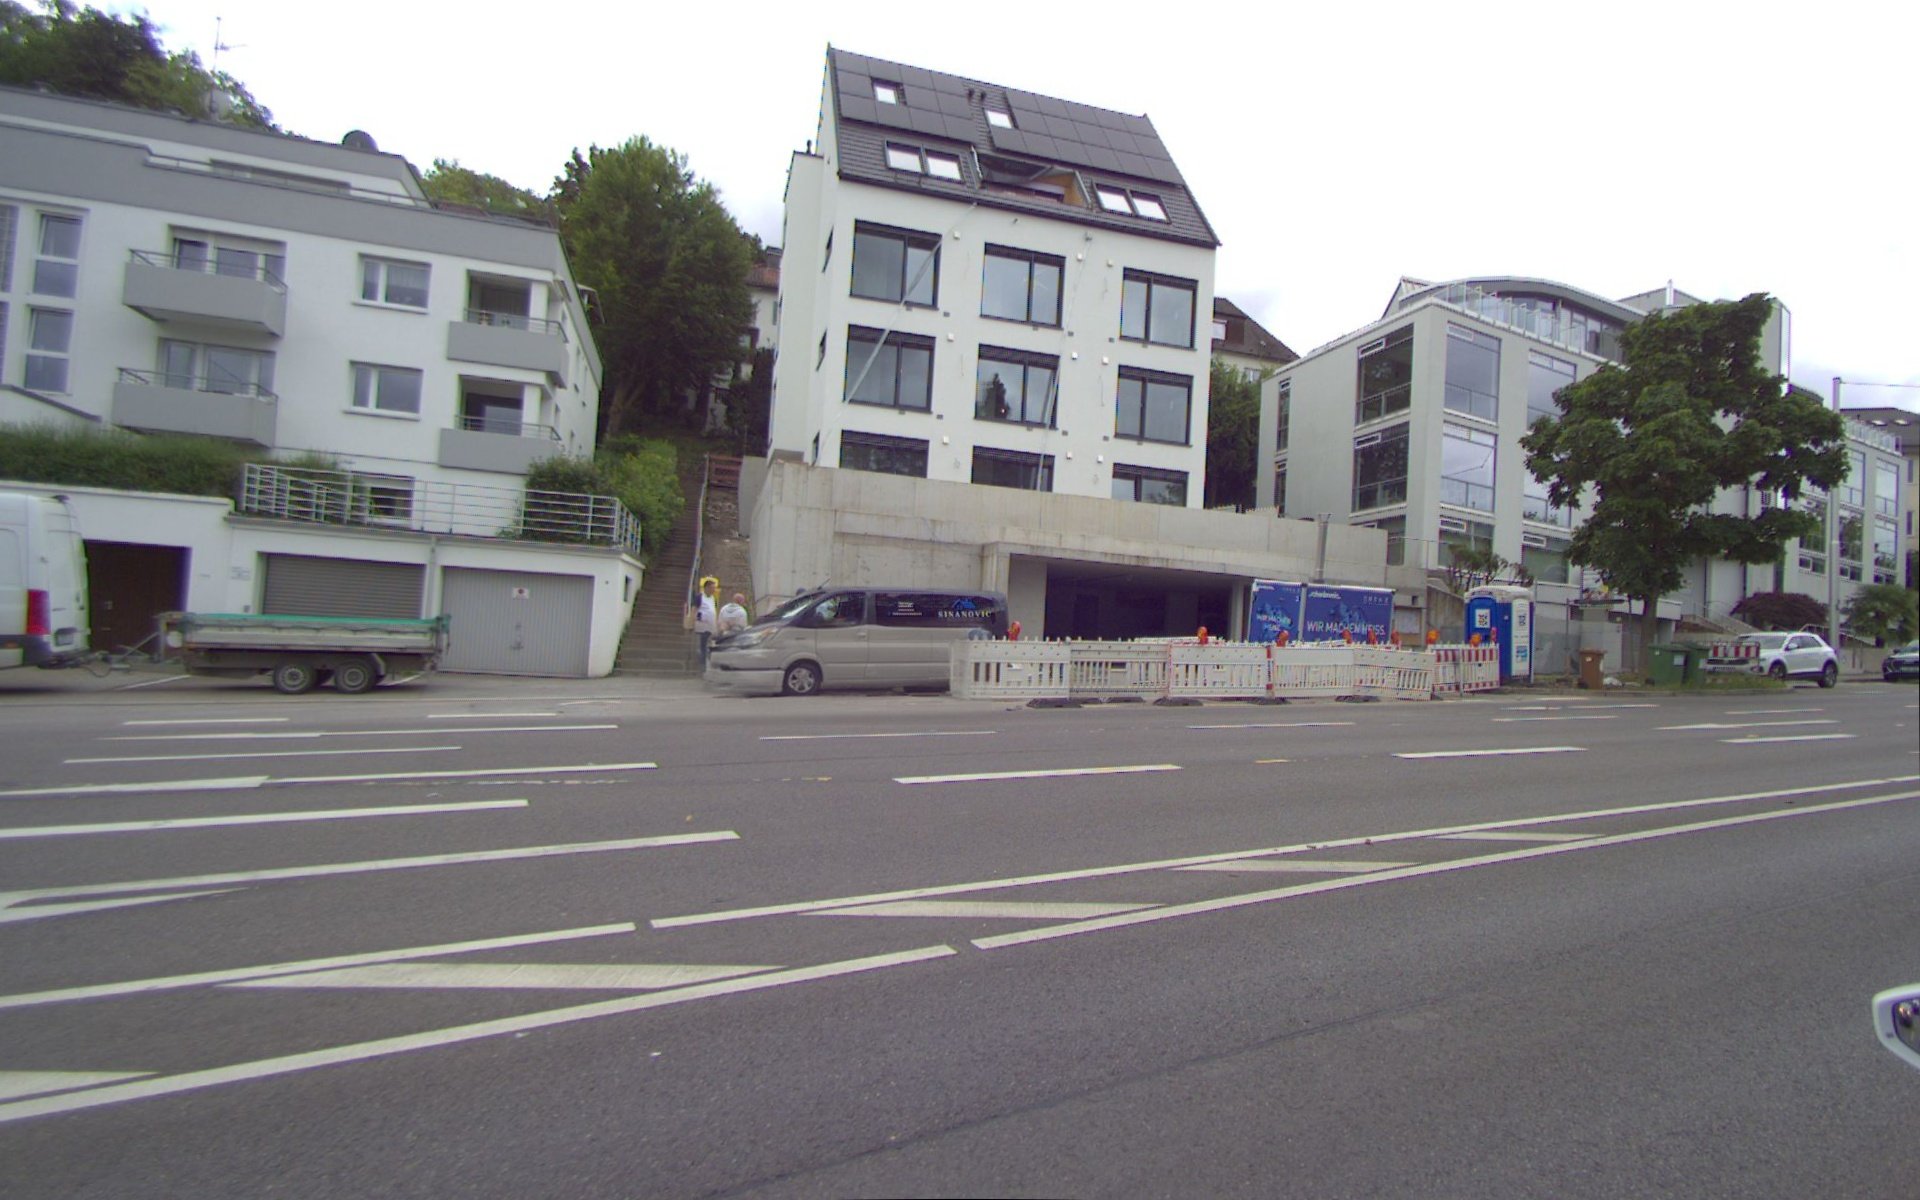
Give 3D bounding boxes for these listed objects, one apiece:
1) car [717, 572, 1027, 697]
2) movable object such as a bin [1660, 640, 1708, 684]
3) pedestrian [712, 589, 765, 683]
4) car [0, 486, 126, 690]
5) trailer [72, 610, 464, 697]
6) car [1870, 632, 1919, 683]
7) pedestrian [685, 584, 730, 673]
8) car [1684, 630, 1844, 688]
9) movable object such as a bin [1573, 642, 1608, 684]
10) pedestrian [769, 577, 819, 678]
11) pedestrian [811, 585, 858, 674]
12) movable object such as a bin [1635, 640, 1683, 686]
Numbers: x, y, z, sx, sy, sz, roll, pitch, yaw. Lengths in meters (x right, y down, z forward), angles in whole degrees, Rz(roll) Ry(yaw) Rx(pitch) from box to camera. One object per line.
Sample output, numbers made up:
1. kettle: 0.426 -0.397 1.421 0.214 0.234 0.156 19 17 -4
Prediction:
1. car: -1.545 0.624 17.903 5.144 1.993 1.978 2 -1 -23
2. movable object such as a bin: 17.010 1.456 23.612 0.650 1.003 0.644 1 0 -18
3. pedestrian: -4.026 0.644 18.322 0.662 1.662 0.672 2 1 14
4. car: -15.338 -0.220 12.428 7.330 2.602 2.222 2 -1 -29
5. trailer: -10.097 0.763 15.206 4.565 1.127 2.237 2 -1 -28
6. car: 33.090 1.948 34.235 3.864 1.655 1.765 2 -1 -26
7. pedestrian: -4.808 0.534 19.168 0.659 1.662 0.627 2 1 -3
8. car: 22.742 1.649 28.406 4.244 1.518 1.766 2 -1 -24
9. movable object such as a bin: 14.239 1.405 22.689 0.648 0.891 0.645 1 0 32
10. pedestrian: -3.171 0.507 19.230 0.662 1.865 0.672 2 1 14
11. pedestrian: -2.417 0.556 19.404 0.662 1.662 0.672 2 1 14
12. movable object such as a bin: 16.348 1.463 23.510 0.650 1.029 0.644 1 0 -18
